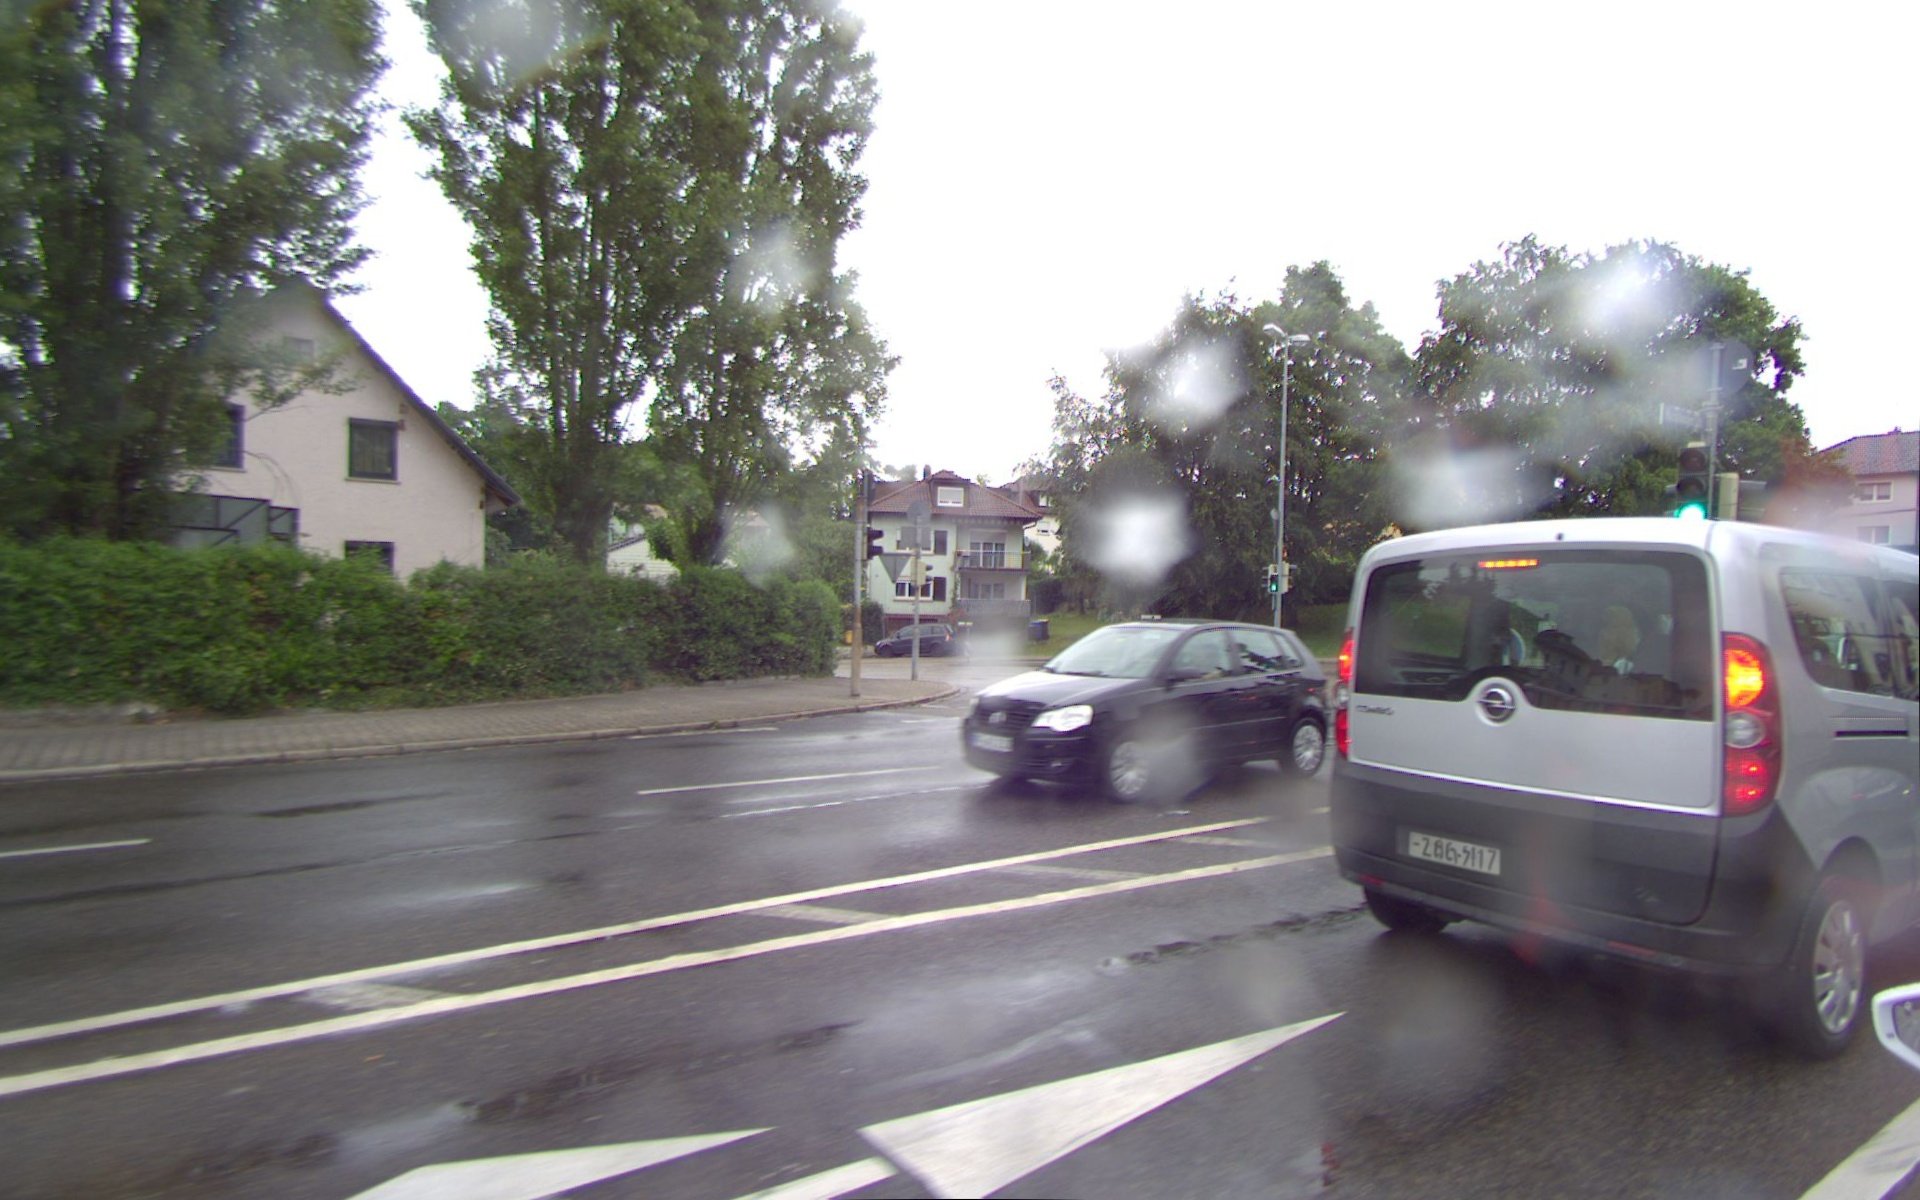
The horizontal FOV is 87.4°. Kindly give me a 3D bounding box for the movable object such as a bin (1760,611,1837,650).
[{"bbox_3d":[36.011,1.278,43.171,1.560,1.590,2.052,-1,0,-25],"label":"movable object such as a bin"}]

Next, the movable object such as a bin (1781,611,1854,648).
[{"bbox_3d":[37.340,1.249,43.778,1.325,1.535,2.052,-1,0,-25],"label":"movable object such as a bin"}]

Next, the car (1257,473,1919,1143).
[{"bbox_3d":[3.807,0.652,4.965,4.696,1.895,1.940,1,-2,-33],"label":"car"}]

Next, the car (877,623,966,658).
[{"bbox_3d":[-1.924,2.022,50.713,4.112,1.726,1.940,-1,-1,17],"label":"car"}]

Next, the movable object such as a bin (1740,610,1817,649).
[{"bbox_3d":[34.596,1.225,42.470,1.560,1.590,2.052,-1,0,-25],"label":"movable object such as a bin"}]

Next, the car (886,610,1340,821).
[{"bbox_3d":[1.486,0.857,9.063,3.964,1.483,1.839,1,-1,-38],"label":"car"}]

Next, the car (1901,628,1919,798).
[{"bbox_3d":[10.669,1.050,9.297,4.011,1.507,1.826,2,-1,-31],"label":"car"}]

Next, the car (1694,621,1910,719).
[{"bbox_3d":[15.288,1.207,18.168,4.722,1.577,1.824,2,-2,-34],"label":"car"}]
